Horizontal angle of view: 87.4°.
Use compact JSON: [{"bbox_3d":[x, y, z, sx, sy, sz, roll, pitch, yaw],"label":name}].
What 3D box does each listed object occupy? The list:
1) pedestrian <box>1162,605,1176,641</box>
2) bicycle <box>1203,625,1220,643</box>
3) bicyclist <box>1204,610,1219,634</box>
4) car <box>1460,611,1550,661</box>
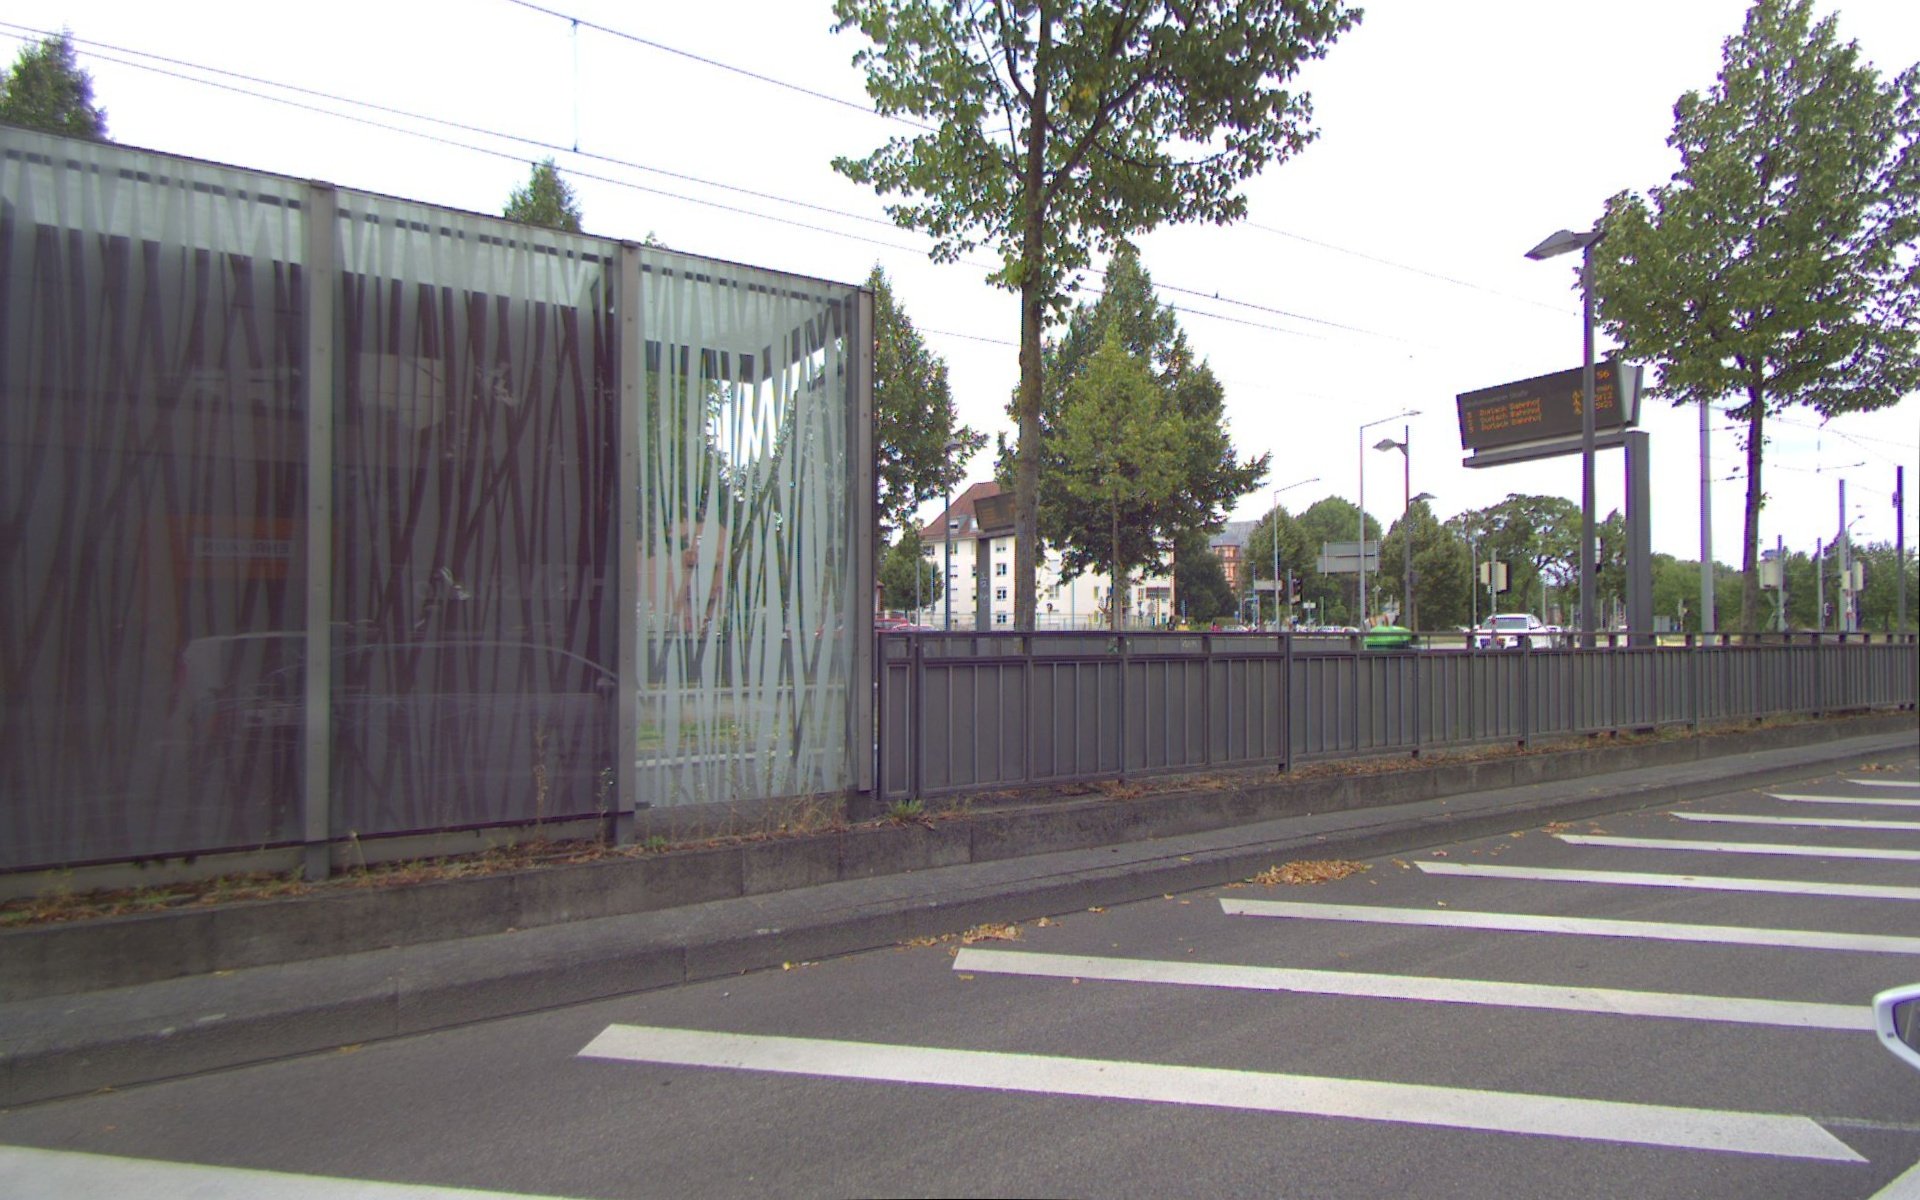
[{"bbox_3d":[10.805,1.178,51.989,0.636,1.874,0.491,0,-1,22],"label":"pedestrian"},{"bbox_3d":[16.392,2.219,65.359,0.793,1.144,2.708,-1,-1,19],"label":"bicycle"},{"bbox_3d":[16.365,1.438,65.327,0.874,1.583,0.750,0,-1,23],"label":"bicyclist"},{"bbox_3d":[19.082,1.231,35.088,1.970,1.639,4.365,-1,-1,39],"label":"car"}]
